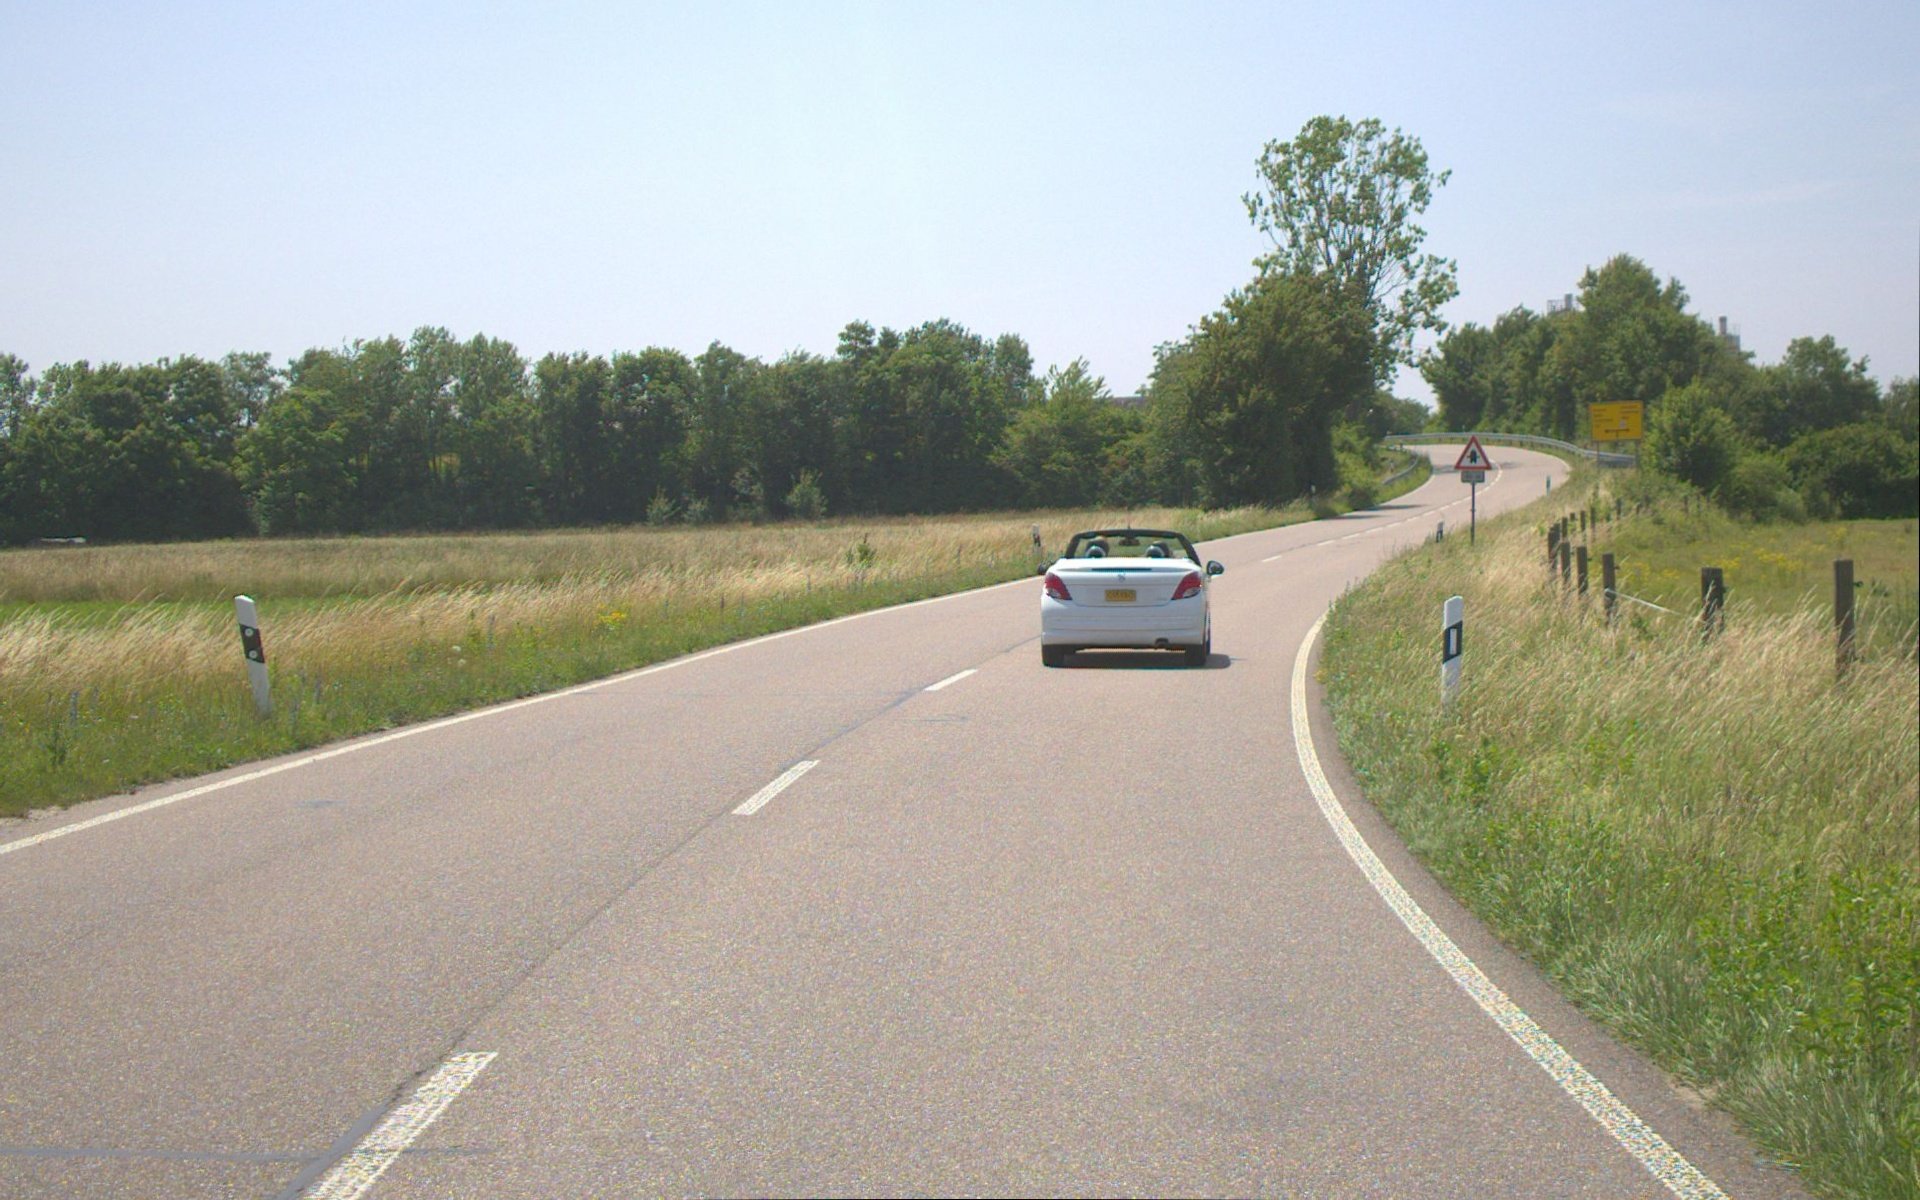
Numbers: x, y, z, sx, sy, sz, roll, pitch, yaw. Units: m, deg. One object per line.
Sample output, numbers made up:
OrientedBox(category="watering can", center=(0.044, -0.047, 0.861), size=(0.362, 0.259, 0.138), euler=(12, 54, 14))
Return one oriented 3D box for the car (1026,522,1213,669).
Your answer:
OrientedBox(category="car", center=(1.714, -0.088, 36.192), size=(1.851, 1.374, 4.000), euler=(0, 2, 4))
